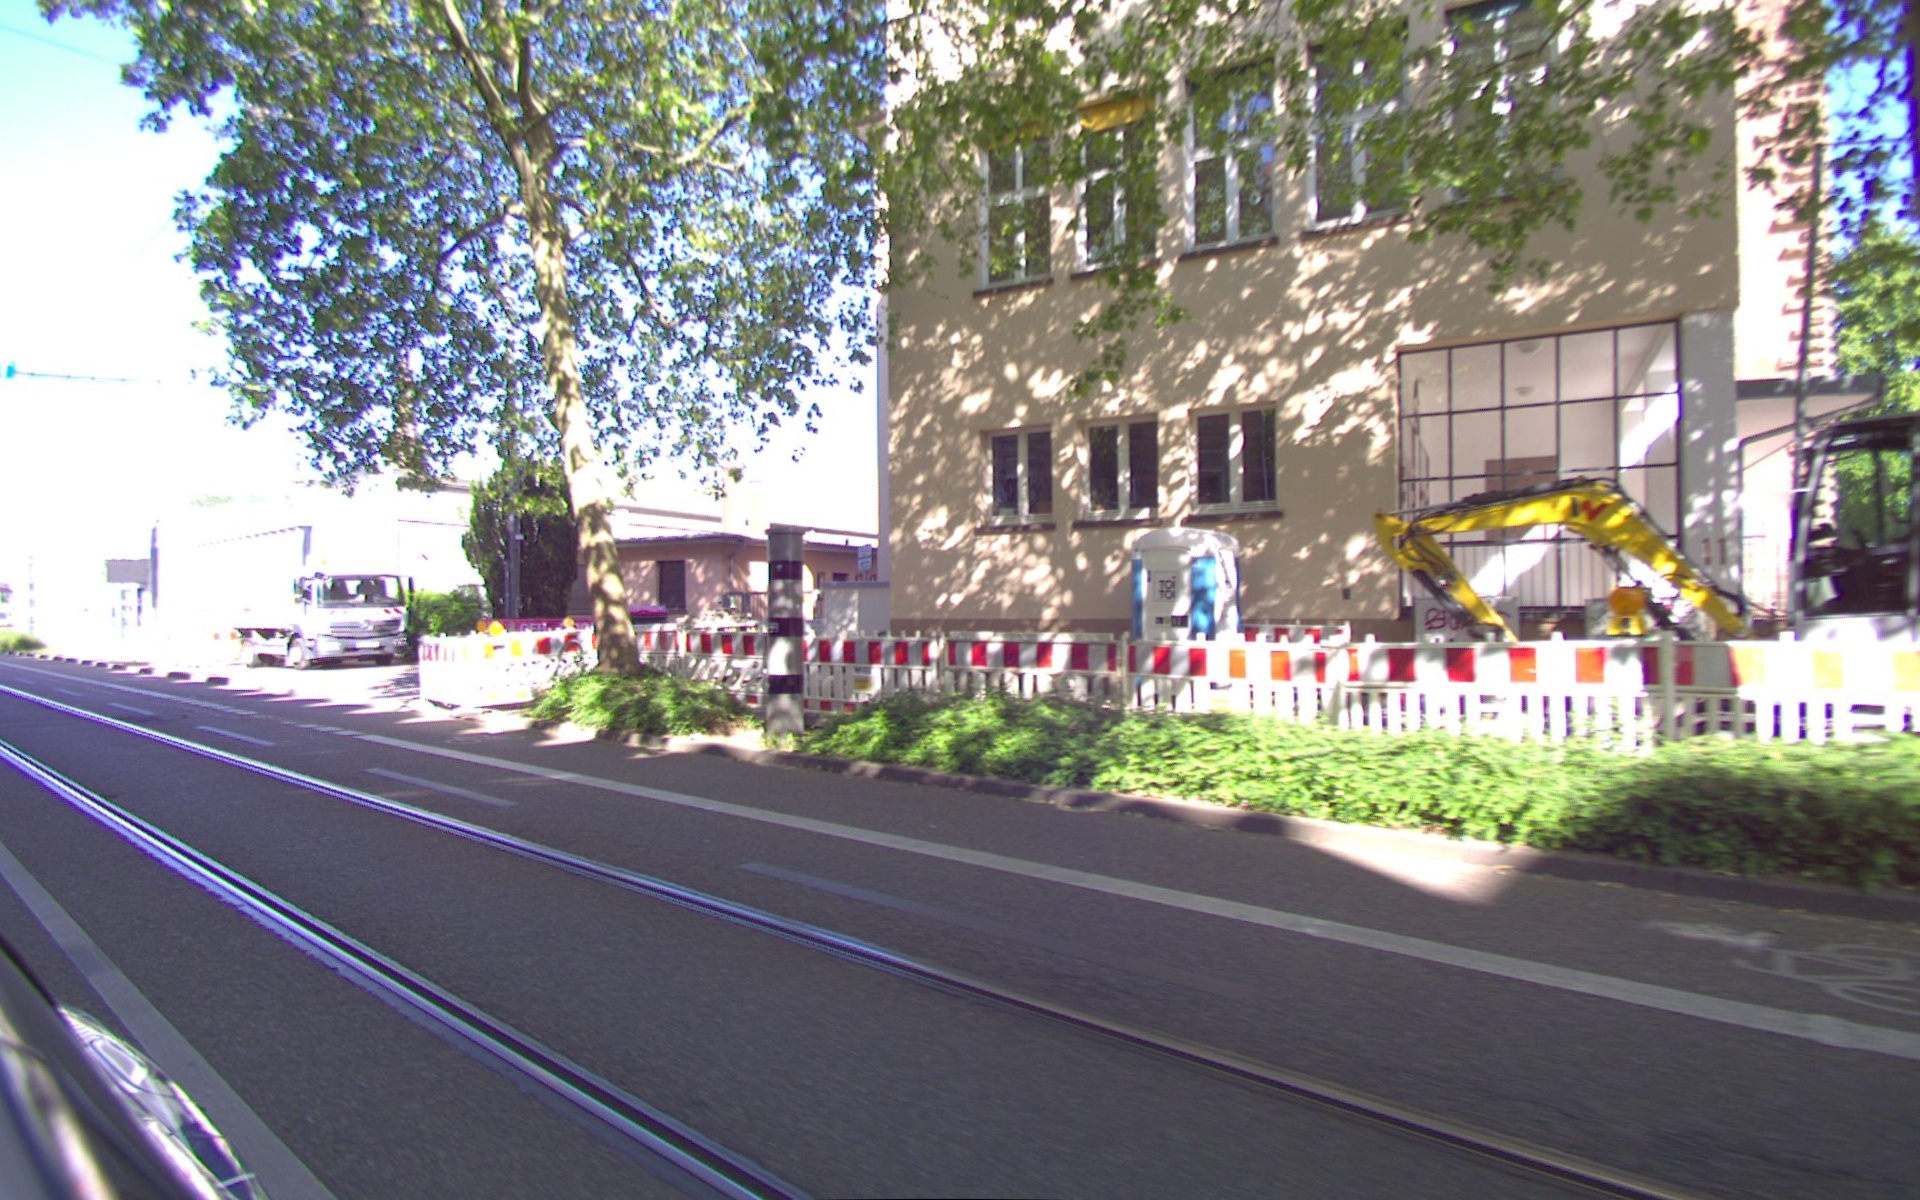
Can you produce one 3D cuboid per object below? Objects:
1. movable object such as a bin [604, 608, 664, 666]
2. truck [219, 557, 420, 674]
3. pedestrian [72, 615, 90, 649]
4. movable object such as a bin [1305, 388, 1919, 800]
[{"bbox_3d":[-8.405,0.930,26.061,1.120,1.416,1.291,-2,1,-33],"label":"movable object such as a bin"},{"bbox_3d":[-17.570,0.373,27.633,6.365,2.851,2.515,-1,1,37],"label":"truck"},{"bbox_3d":[-46.645,1.688,53.690,1.050,1.778,0.521,-1,1,41],"label":"pedestrian"},{"bbox_3d":[6.194,-0.049,8.115,5.981,2.665,2.472,-1,1,38],"label":"movable object such as a bin"}]
